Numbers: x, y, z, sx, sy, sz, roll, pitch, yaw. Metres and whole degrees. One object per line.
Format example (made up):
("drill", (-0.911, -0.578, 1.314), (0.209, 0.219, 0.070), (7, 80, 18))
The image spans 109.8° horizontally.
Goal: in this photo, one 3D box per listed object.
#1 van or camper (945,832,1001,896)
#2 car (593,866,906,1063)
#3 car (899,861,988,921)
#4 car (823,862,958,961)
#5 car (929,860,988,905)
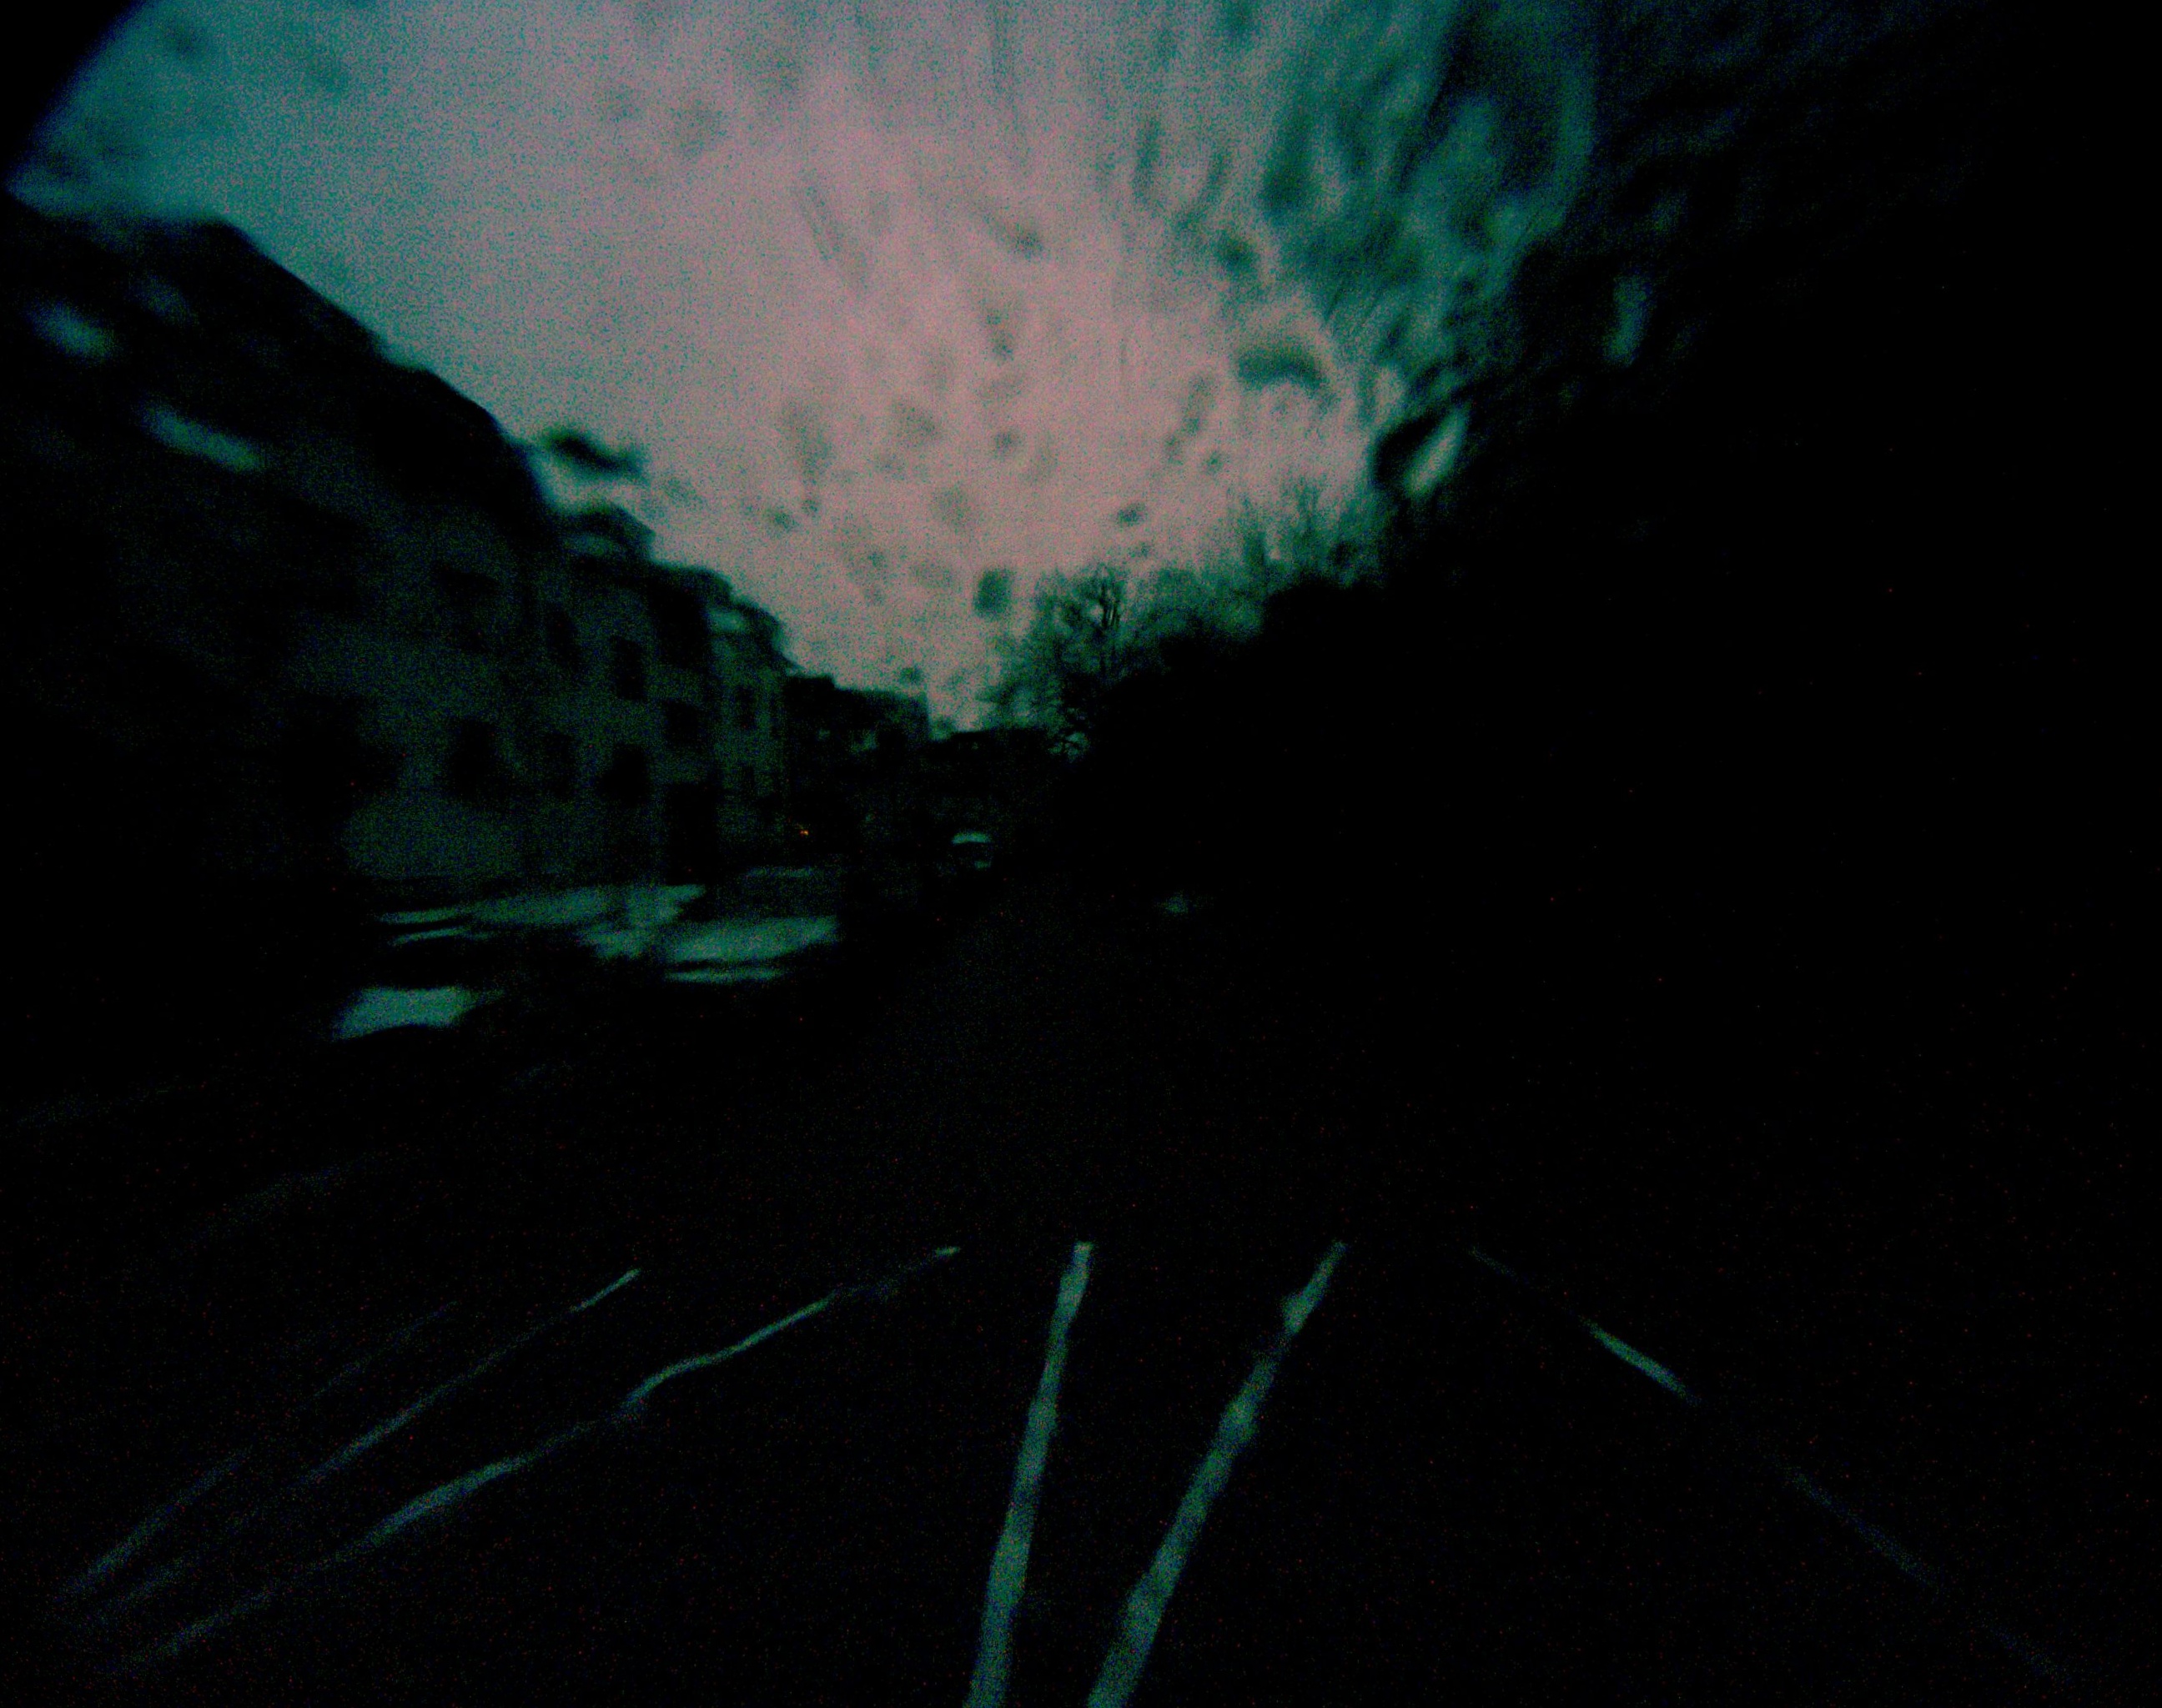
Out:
("van or camper", (-4.556, 0.391, 33.034), (2.020, 2.493, 6.789), (0, 0, -5))
("car", (-3.233, 0.944, 8.488), (1.743, 1.421, 4.454), (-2, 1, -4))
("car", (-3.643, 0.919, 20.830), (1.660, 1.382, 4.531), (0, 1, -1))
("car", (-3.419, 0.953, 14.500), (1.660, 1.421, 4.562), (-2, 1, -4))
("car", (-4.189, 0.928, 26.510), (1.660, 1.382, 4.121), (0, 1, -4))
